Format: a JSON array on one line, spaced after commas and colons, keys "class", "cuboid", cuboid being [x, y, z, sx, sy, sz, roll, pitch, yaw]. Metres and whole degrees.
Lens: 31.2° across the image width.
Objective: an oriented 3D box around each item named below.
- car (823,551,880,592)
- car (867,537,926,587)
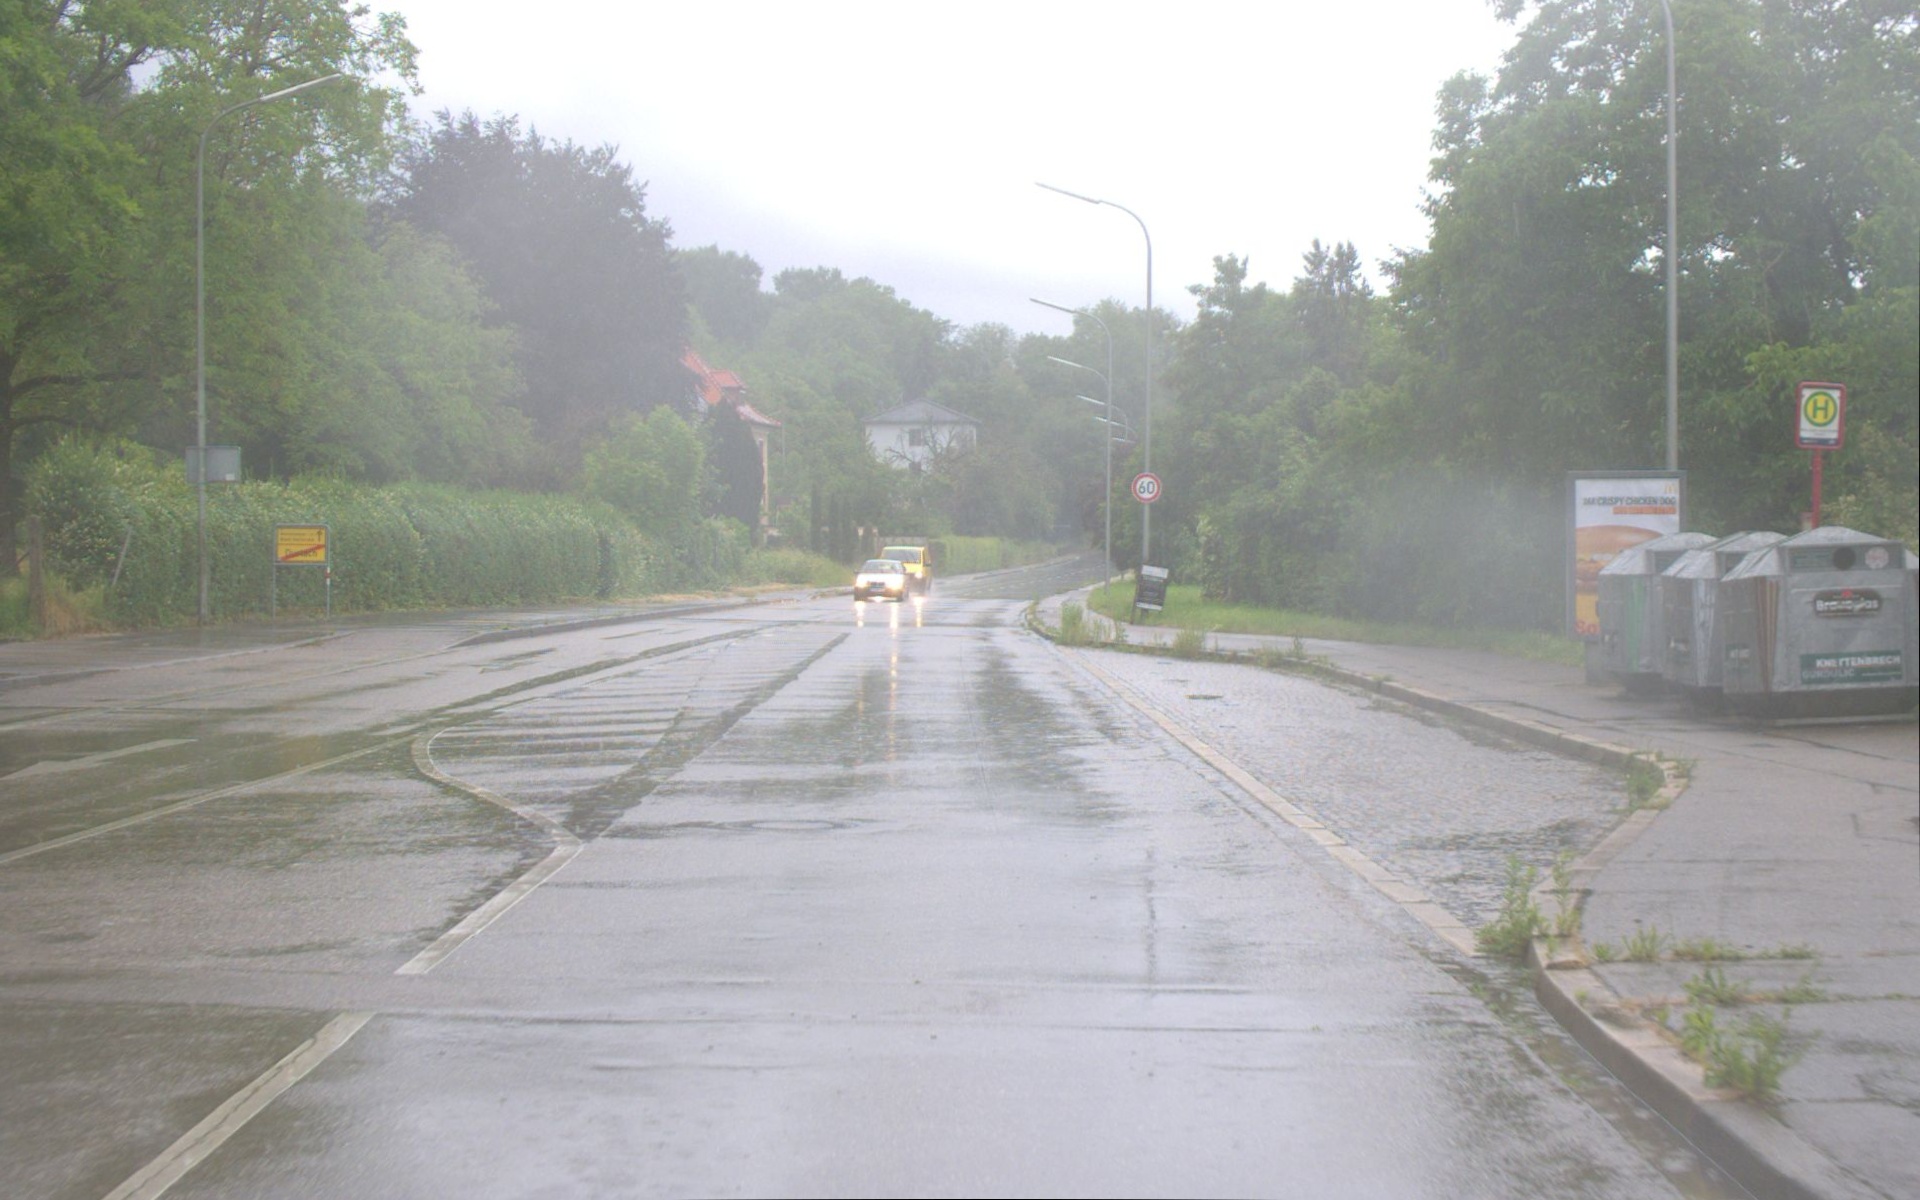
[{"class": "car", "cuboid": [-3.635, -0.981, 115.605, 1.701, 1.345, 3.905, 1, 1, 1]}, {"class": "car", "cuboid": [-2.424, -1.475, 132.552, 1.937, 1.865, 5.036, 1, 1, 3]}]
